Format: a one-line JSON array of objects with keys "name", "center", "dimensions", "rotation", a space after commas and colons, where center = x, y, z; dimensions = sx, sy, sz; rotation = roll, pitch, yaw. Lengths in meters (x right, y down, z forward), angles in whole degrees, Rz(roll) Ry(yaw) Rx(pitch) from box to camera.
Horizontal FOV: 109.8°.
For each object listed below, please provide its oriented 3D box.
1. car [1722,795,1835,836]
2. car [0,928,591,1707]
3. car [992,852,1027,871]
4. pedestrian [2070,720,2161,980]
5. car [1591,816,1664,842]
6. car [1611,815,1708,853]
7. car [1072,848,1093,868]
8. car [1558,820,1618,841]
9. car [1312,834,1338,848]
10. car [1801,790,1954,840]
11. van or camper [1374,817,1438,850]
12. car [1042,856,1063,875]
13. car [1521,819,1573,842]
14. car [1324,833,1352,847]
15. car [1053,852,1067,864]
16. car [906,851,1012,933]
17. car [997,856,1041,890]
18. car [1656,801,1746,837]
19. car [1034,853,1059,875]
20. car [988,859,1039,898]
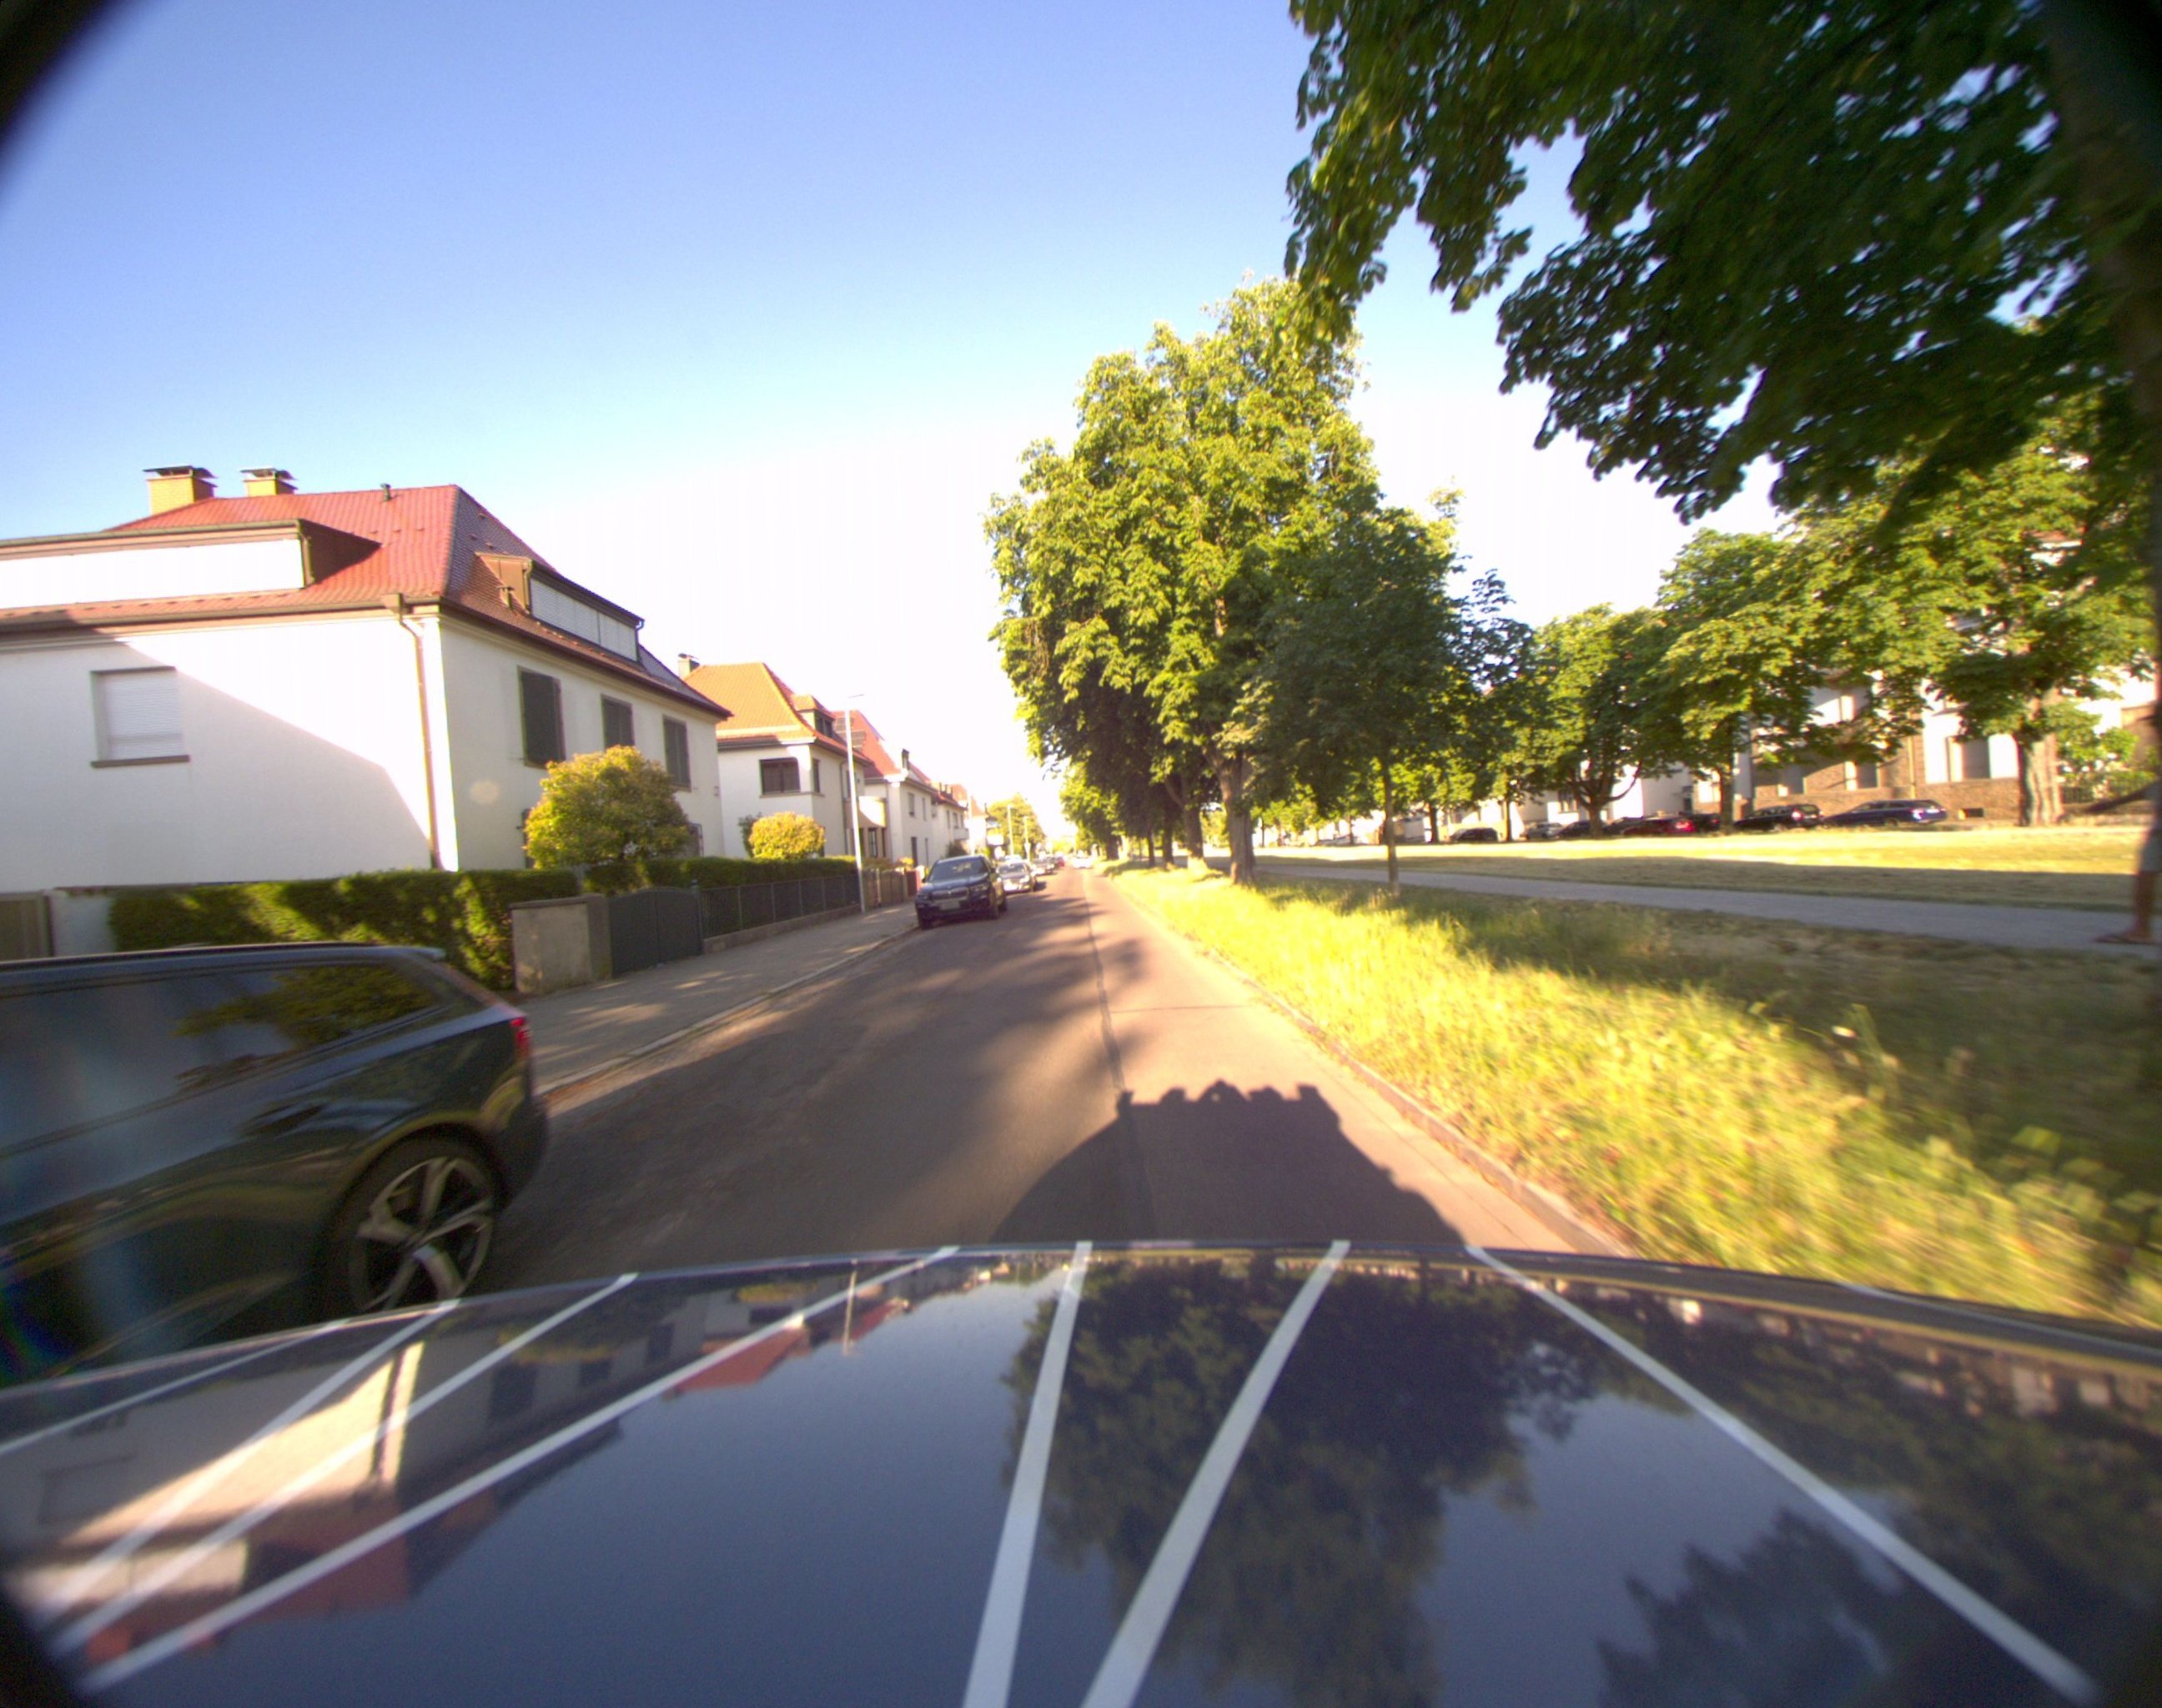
[{"name": "car", "center": [39.600, -2.128, 43.351], "dimensions": [1.998, 2.002, 4.876], "rotation": [-4, 0, 2]}, {"name": "car", "center": [-3.131, 1.167, 1.038], "dimensions": [1.798, 1.483, 4.673], "rotation": [-4, 1, 0]}, {"name": "car", "center": [-8.454, 0.911, 90.005], "dimensions": [3.998, 1.917, 1.999], "rotation": [-4, 0, -3]}, {"name": "pedestrian", "center": [7.593, -0.043, 5.032], "dimensions": [0.726, 1.747, 0.993], "rotation": [-4, 0, 7]}, {"name": "car", "center": [39.758, -1.750, 55.415], "dimensions": [1.999, 1.643, 4.428], "rotation": [-4, 0, -1]}, {"name": "car", "center": [34.037, -1.144, 44.903], "dimensions": [1.998, 2.002, 4.876], "rotation": [-4, 0, 2]}, {"name": "car", "center": [0.172, 0.402, 81.346], "dimensions": [1.998, 2.002, 3.999], "rotation": [-4, 1, 0]}, {"name": "car", "center": [40.045, -1.861, 60.092], "dimensions": [1.998, 1.421, 4.169], "rotation": [-4, 0, 2]}, {"name": "car", "center": [34.096, -1.777, 106.192], "dimensions": [1.998, 1.680, 4.875], "rotation": [-4, 0, 1]}, {"name": "car", "center": [39.546, -1.867, 37.939], "dimensions": [2.000, 1.738, 5.007], "rotation": [8, -4, -6]}, {"name": "van or camper", "center": [34.296, -2.080, 80.586], "dimensions": [3.262, 3.092, 7.896], "rotation": [-4, 0, 1]}, {"name": "car", "center": [-2.871, 1.166, 78.478], "dimensions": [1.863, 1.710, 4.467], "rotation": [-9, 0, -1]}, {"name": "car", "center": [39.778, -1.939, 65.011], "dimensions": [1.998, 1.724, 4.000], "rotation": [-4, 0, 2]}, {"name": "car", "center": [33.966, -1.823, 100.447], "dimensions": [1.998, 1.680, 4.875], "rotation": [-4, 0, 1]}, {"name": "car", "center": [-2.828, 0.481, 104.098], "dimensions": [1.824, 1.486, 4.223], "rotation": [-4, 0, -1]}, {"name": "car", "center": [-3.170, 0.910, 20.777], "dimensions": [1.999, 1.727, 4.862], "rotation": [-7, 1, -1]}, {"name": "car", "center": [-3.270, 0.968, 41.111], "dimensions": [1.999, 1.455, 4.549], "rotation": [-7, 0, -2]}, {"name": "car", "center": [39.782, -2.199, 48.891], "dimensions": [1.999, 2.002, 4.428], "rotation": [-4, 0, -1]}, {"name": "car", "center": [-2.726, 0.746, 60.768], "dimensions": [1.784, 1.490, 4.397], "rotation": [-6, 0, -1]}, {"name": "car", "center": [-2.991, 1.059, 34.763], "dimensions": [1.784, 1.454, 4.593], "rotation": [-7, 0, 0]}]
